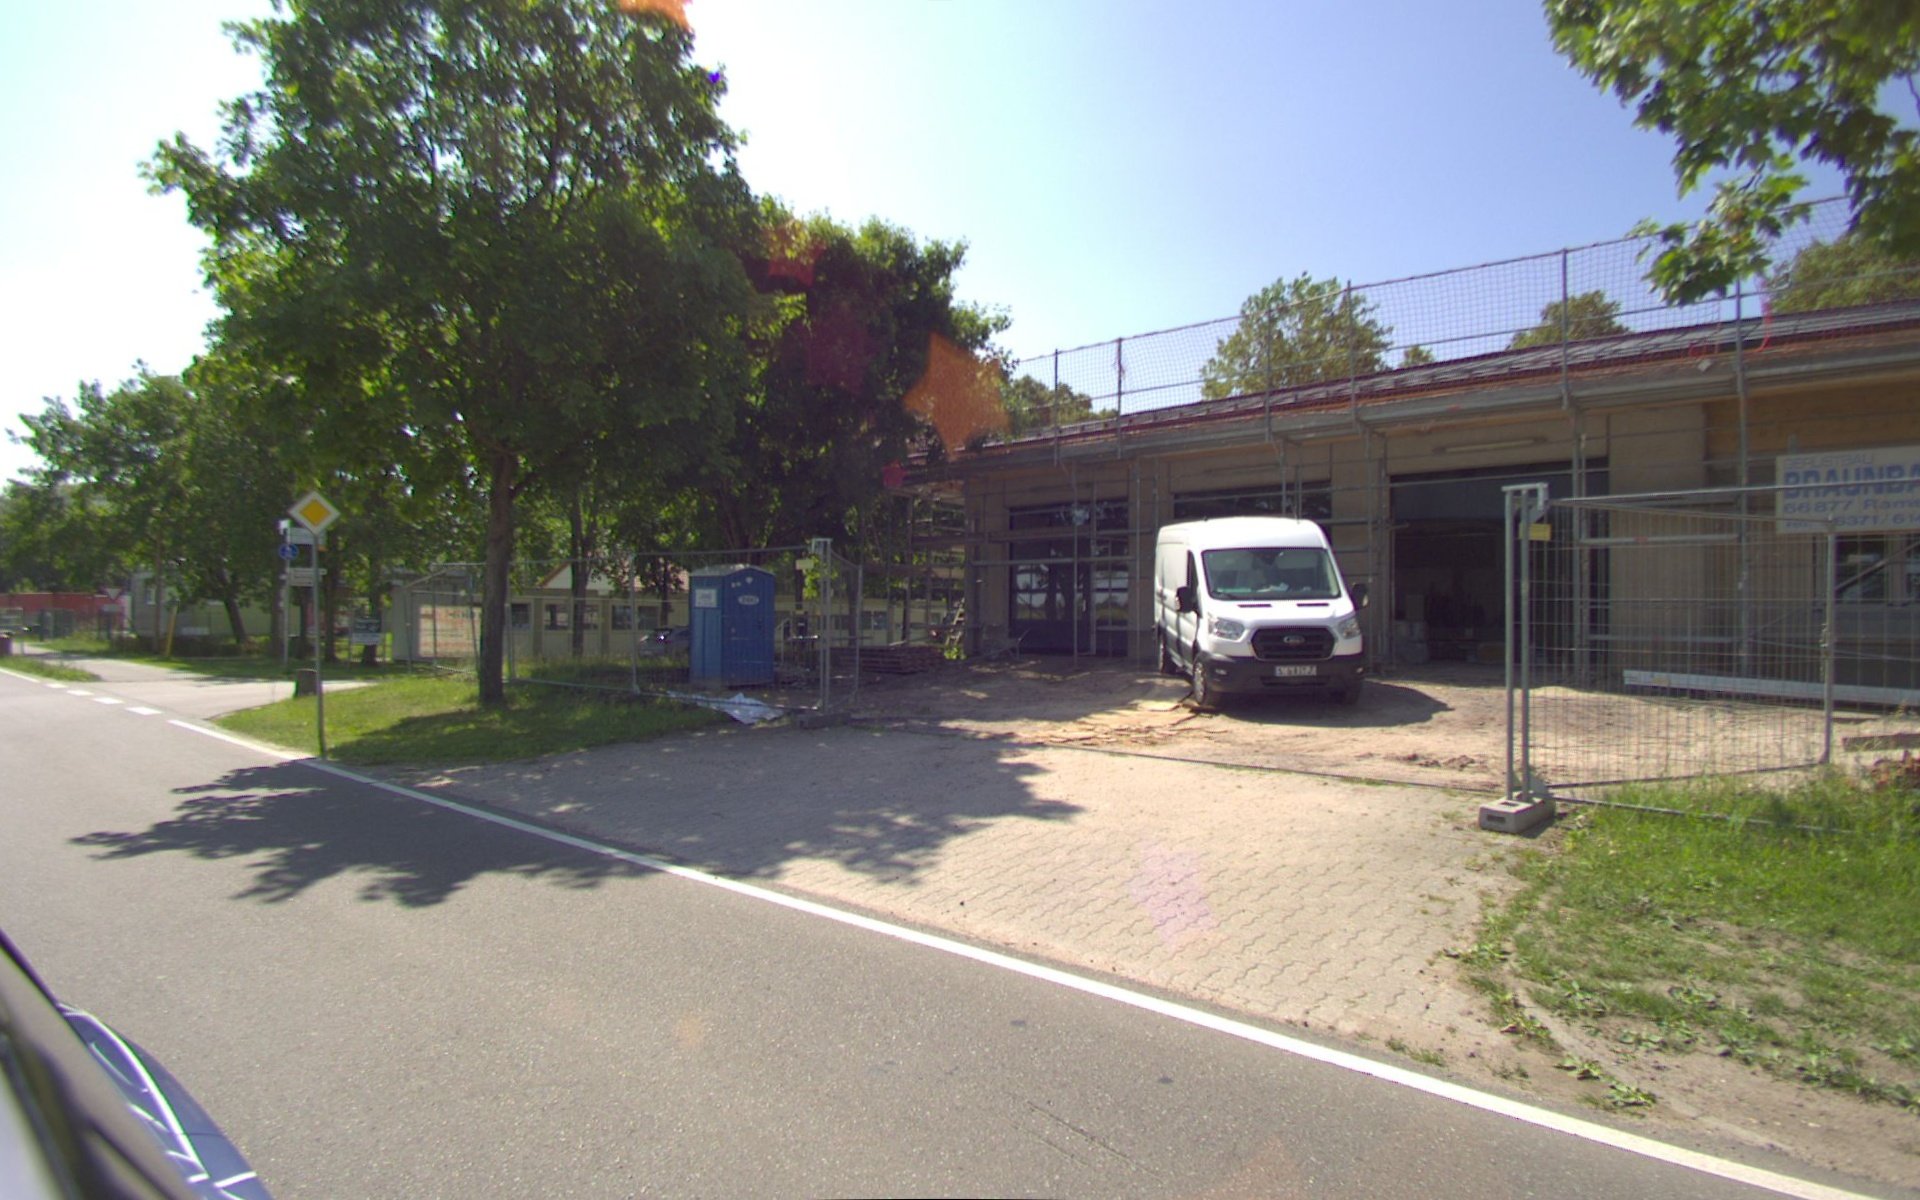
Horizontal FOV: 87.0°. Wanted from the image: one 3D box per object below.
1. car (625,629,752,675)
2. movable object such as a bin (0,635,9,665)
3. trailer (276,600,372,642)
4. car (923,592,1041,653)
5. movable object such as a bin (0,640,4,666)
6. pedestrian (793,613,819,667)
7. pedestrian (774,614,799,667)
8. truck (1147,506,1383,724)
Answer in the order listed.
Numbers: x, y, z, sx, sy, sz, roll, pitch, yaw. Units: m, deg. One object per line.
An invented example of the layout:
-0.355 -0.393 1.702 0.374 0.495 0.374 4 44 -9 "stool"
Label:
-8.731 1.657 32.809 1.754 1.410 3.768 -1 -2 34 "car"
-33.267 1.721 34.850 0.690 1.032 0.749 2 -3 -41 "movable object such as a bin"
-35.439 1.202 56.506 1.820 2.295 4.197 -1 -2 28 "trailer"
1.108 1.064 46.209 2.120 2.597 5.997 -1 -3 40 "car"
-32.739 1.786 34.222 0.555 0.883 0.614 2 -3 -41 "movable object such as a bin"
-5.131 1.331 33.762 0.585 1.764 0.599 -1 -2 32 "pedestrian"
-5.864 1.360 34.186 0.585 1.764 0.599 -1 -2 32 "pedestrian"
4.046 0.074 14.608 1.974 2.502 5.925 0 2 4 "truck"
